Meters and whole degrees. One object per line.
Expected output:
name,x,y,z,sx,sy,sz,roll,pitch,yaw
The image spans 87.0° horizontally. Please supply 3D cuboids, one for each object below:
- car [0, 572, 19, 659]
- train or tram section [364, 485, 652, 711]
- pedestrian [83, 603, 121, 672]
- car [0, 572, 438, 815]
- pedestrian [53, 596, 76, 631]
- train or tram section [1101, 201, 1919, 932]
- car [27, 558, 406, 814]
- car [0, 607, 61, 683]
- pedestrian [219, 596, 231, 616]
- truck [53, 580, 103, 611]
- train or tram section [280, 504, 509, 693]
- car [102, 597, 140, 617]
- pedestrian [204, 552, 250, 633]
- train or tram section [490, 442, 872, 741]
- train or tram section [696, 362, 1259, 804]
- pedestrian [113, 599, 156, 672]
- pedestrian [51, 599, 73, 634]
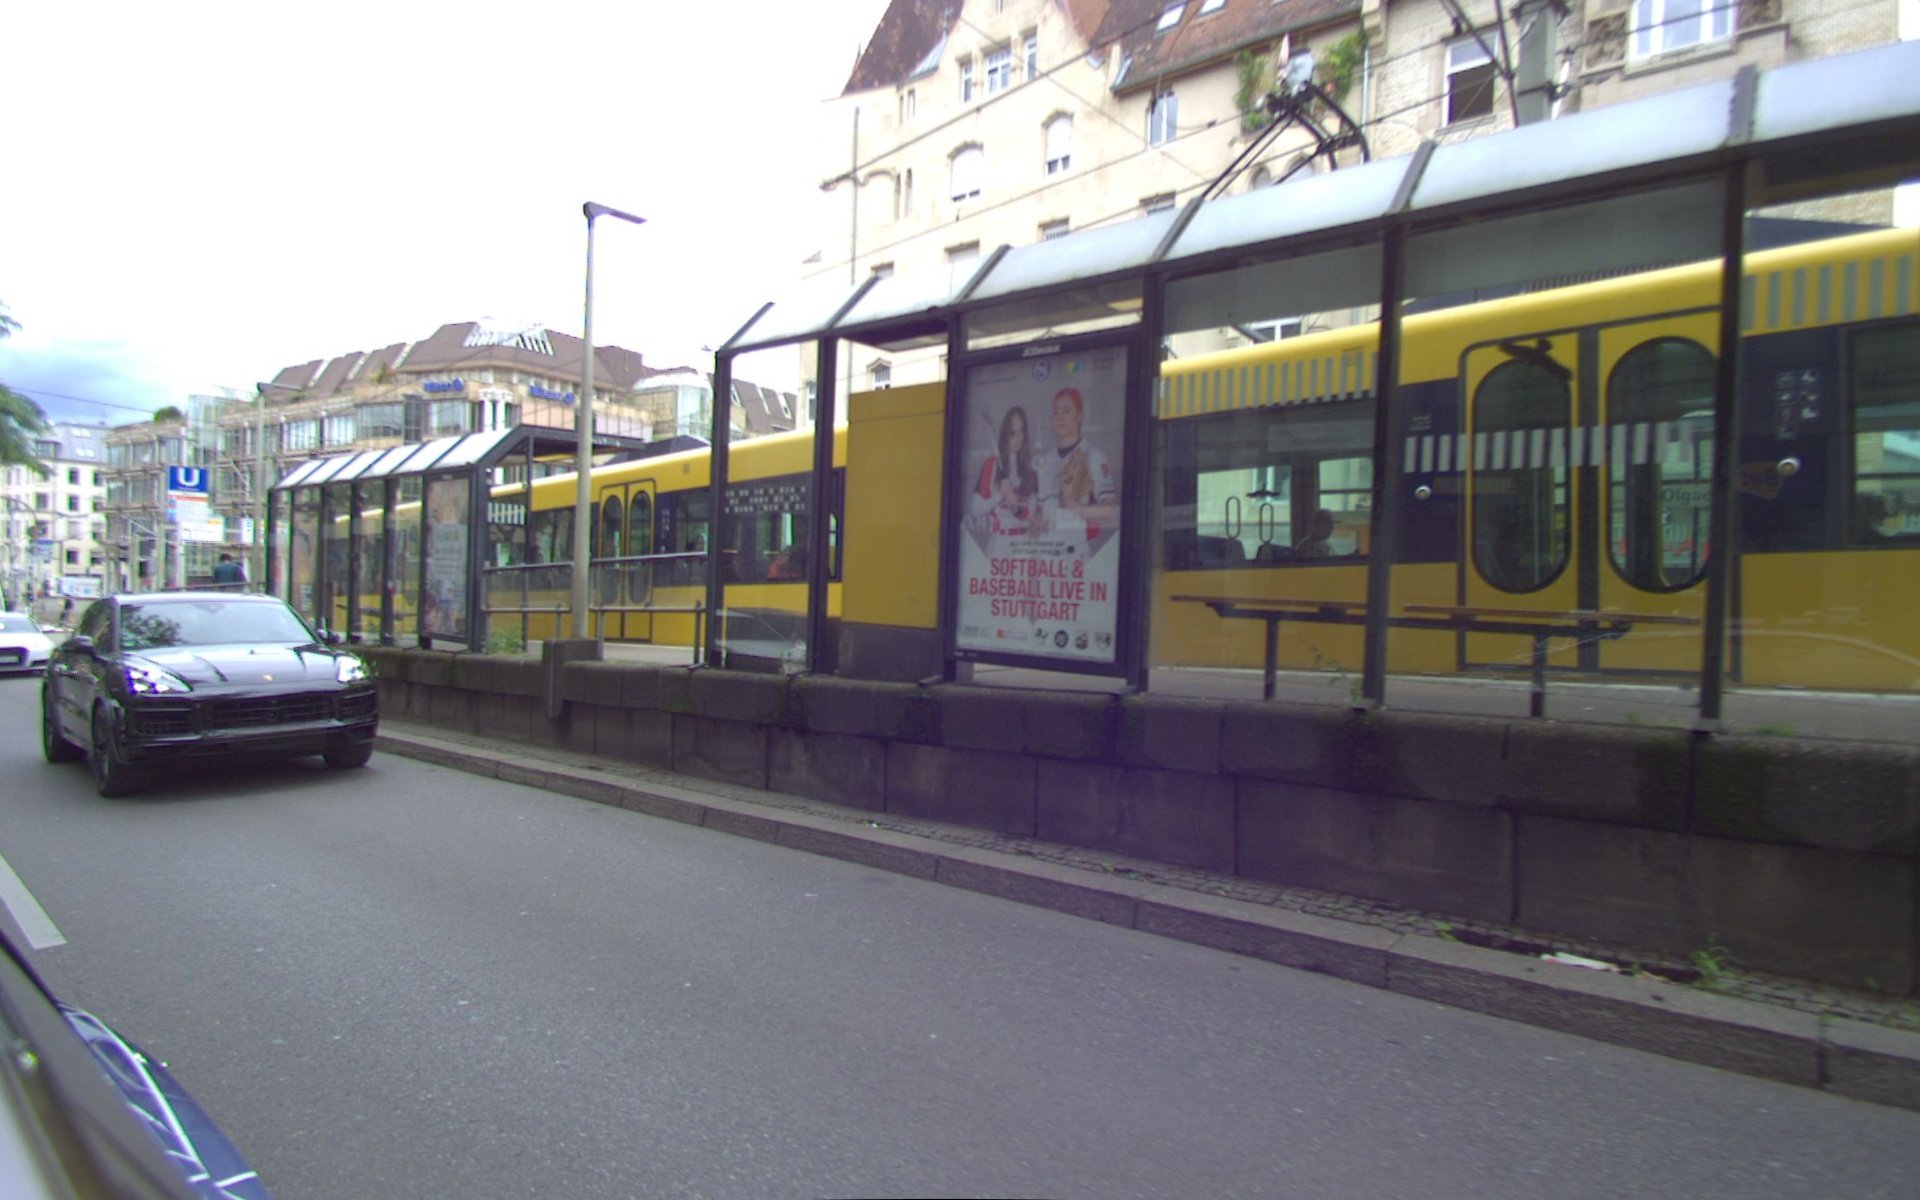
car,-33.628,0.471,34.043,5.937,2.780,2.252,1,1,41
train or tram section,-8.559,-0.039,18.887,5.750,3.547,2.805,0,0,42
pedestrian,-21.895,0.947,25.821,0.871,1.724,0.628,-1,-1,41
car,-7.197,0.677,9.532,5.345,1.687,2.063,-1,0,39
pedestrian,-44.546,0.663,50.334,0.772,1.734,0.783,0,0,41
train or tram section,4.204,-0.169,7.215,5.750,3.547,2.805,0,0,42
car,-7.978,0.633,10.624,5.149,2.029,2.339,1,1,44
car,-22.153,0.990,22.996,3.995,1.541,1.926,1,1,39
pedestrian,-69.460,0.580,95.695,0.738,1.825,0.724,1,1,36
truck,-94.638,-0.482,108.581,7.358,3.099,2.247,1,-2,35
train or tram section,-12.825,-0.038,22.767,5.750,3.706,2.805,0,0,42
car,-82.129,0.673,99.069,4.771,1.772,1.659,1,1,35
pedestrian,-16.204,-0.167,22.378,0.671,1.743,0.710,1,1,43
train or tram section,-4.307,-0.105,15.010,5.750,3.547,2.805,0,0,42
train or tram section,-0.050,-0.142,11.097,5.750,3.547,2.805,0,0,42
pedestrian,-19.682,0.834,24.123,0.711,1.724,0.678,-1,-1,41
pedestrian,-45.031,0.826,50.767,0.637,1.734,0.756,0,0,41
